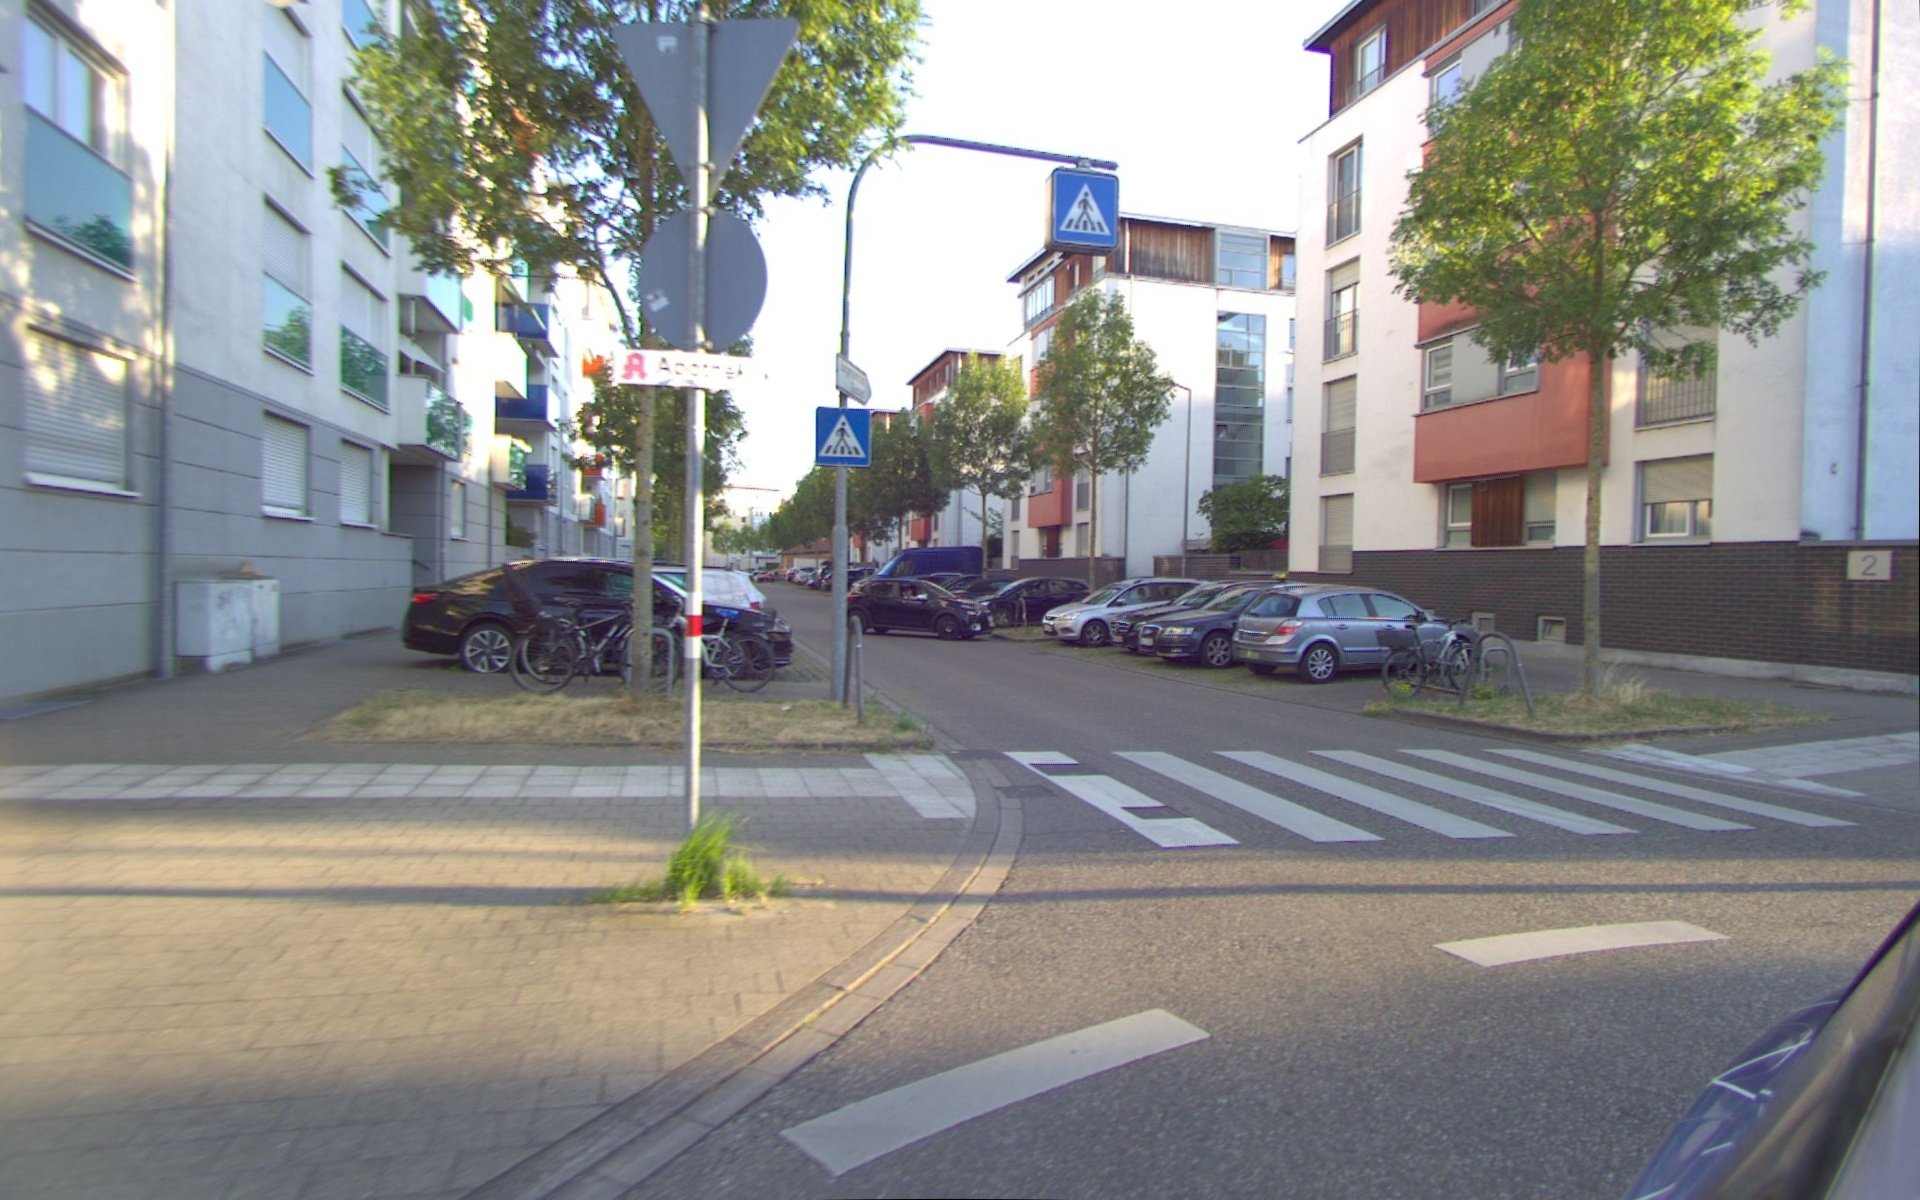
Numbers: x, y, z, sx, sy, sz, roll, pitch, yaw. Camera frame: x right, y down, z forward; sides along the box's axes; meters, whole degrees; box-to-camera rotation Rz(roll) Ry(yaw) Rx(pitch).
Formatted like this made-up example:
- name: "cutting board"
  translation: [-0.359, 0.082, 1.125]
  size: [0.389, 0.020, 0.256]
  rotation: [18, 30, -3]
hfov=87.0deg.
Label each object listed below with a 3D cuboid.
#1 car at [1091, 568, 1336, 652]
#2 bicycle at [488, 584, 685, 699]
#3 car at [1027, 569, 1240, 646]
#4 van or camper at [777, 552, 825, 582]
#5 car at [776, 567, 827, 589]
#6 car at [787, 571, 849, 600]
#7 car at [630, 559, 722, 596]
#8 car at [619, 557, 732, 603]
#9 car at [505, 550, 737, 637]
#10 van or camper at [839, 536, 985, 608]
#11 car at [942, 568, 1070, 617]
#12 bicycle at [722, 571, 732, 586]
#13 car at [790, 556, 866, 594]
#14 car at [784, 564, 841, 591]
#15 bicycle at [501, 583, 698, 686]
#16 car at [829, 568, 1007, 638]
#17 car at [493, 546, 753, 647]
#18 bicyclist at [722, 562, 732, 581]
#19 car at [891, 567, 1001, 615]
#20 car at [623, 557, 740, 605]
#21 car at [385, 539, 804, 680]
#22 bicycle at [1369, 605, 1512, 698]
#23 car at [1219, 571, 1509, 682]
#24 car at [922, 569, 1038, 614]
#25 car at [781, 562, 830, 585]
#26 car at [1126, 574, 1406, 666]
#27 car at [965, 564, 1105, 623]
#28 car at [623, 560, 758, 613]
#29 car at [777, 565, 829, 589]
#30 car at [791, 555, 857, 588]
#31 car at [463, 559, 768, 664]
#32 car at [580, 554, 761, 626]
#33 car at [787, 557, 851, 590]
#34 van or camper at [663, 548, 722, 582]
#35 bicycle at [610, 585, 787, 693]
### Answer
- name: "car"
  translation: [5.298, 0.162, 21.333]
  size: [4.689, 1.574, 1.714]
  rotation: [-1, 1, -11]
- name: "bicycle"
  translation: [-3.731, 0.417, 10.204]
  size: [1.755, 1.055, 0.568]
  rotation: [3, 0, -19]
- name: "car"
  translation: [4.080, 0.127, 23.841]
  size: [4.662, 1.604, 1.762]
  rotation: [-2, 2, -19]
- name: "van or camper"
  translation: [-15.133, -3.166, 96.276]
  size: [4.165, 2.566, 1.764]
  rotation: [3, 0, -14]
- name: "car"
  translation: [-13.865, -1.953, 88.628]
  size: [4.165, 1.659, 1.696]
  rotation: [3, 0, -14]
- name: "car"
  translation: [-10.357, -1.043, 73.611]
  size: [4.164, 1.808, 1.696]
  rotation: [3, 0, -16]
- name: "car"
  translation: [-13.882, -1.108, 49.653]
  size: [4.165, 1.555, 1.696]
  rotation: [3, 0, -14]
- name: "car"
  translation: [-11.346, -0.799, 40.336]
  size: [4.164, 1.528, 1.756]
  rotation: [3, 0, -19]
- name: "car"
  translation: [-6.859, -0.135, 20.873]
  size: [4.210, 1.476, 1.745]
  rotation: [3, 0, -6]
- name: "van or camper"
  translation: [-2.181, -1.256, 45.701]
  size: [6.185, 3.125, 2.448]
  rotation: [0, 1, -19]
- name: "car"
  translation: [1.503, -0.272, 33.361]
  size: [3.838, 1.534, 1.728]
  rotation: [0, 2, -19]
- name: "bicycle"
  translation: [-20.342, -1.917, 88.458]
  size: [0.756, 1.283, 1.785]
  rotation: [0, 1, -16]
- name: "car"
  translation: [-7.844, -1.493, 60.183]
  size: [4.164, 1.955, 1.696]
  rotation: [3, 0, -16]
- name: "car"
  translation: [-11.575, -1.742, 79.391]
  size: [4.164, 1.808, 1.696]
  rotation: [3, 0, -16]
- name: "bicycle"
  translation: [-4.004, 0.391, 11.336]
  size: [1.992, 1.059, 0.474]
  rotation: [3, 0, -19]
- name: "car"
  translation: [-1.061, 0.063, 25.749]
  size: [4.127, 1.481, 1.766]
  rotation: [4, 0, 20]
- name: "car"
  translation: [-6.017, -0.051, 18.413]
  size: [4.206, 1.512, 1.746]
  rotation: [3, 0, -16]
- name: "bicyclist"
  translation: [-20.381, -2.458, 88.583]
  size: [0.751, 1.648, 0.664]
  rotation: [0, 1, -16]
- name: "car"
  translation: [-0.562, -0.369, 40.889]
  size: [4.017, 1.646, 1.728]
  rotation: [3, 0, -19]
- name: "car"
  translation: [-10.329, -0.701, 37.506]
  size: [4.017, 1.528, 1.670]
  rotation: [3, 0, -19]
- name: "car"
  translation: [-4.581, 0.131, 13.329]
  size: [4.788, 1.476, 1.942]
  rotation: [3, 0, -13]
- name: "bicycle"
  translation: [6.375, 0.656, 13.421]
  size: [1.784, 1.079, 0.568]
  rotation: [-3, 2, -17]
- name: "car"
  translation: [6.524, 0.354, 16.408]
  size: [4.205, 1.475, 1.684]
  rotation: [-3, 2, -17]
- name: "car"
  translation: [0.753, -0.346, 38.275]
  size: [4.018, 1.645, 1.728]
  rotation: [0, 1, -19]
- name: "car"
  translation: [-14.006, -2.354, 91.628]
  size: [4.165, 1.808, 1.696]
  rotation: [3, 0, -14]
- name: "car"
  translation: [5.656, 0.303, 18.779]
  size: [4.815, 1.496, 1.715]
  rotation: [-2, 2, -17]
- name: "car"
  translation: [2.263, -0.227, 30.685]
  size: [3.838, 1.731, 1.728]
  rotation: [0, 1, -19]
- name: "car"
  translation: [-8.342, -0.419, 31.234]
  size: [3.838, 1.361, 1.728]
  rotation: [3, 0, -19]
- name: "car"
  translation: [-13.426, -1.950, 86.366]
  size: [4.165, 1.808, 1.696]
  rotation: [3, 0, -14]
- name: "car"
  translation: [-9.364, -1.966, 69.540]
  size: [4.164, 1.955, 1.696]
  rotation: [3, 0, -16]
- name: "car"
  translation: [-5.235, 0.149, 15.910]
  size: [4.324, 1.527, 1.746]
  rotation: [0, 1, -12]
- name: "car"
  translation: [-7.332, -0.242, 25.734]
  size: [4.206, 1.526, 1.689]
  rotation: [3, 0, -18]
- name: "car"
  translation: [-9.941, -1.867, 71.351]
  size: [4.164, 2.028, 1.696]
  rotation: [3, 0, -16]
- name: "van or camper"
  translation: [-20.338, -2.645, 77.001]
  size: [4.164, 2.238, 1.696]
  rotation: [3, 0, -15]
- name: "bicycle"
  translation: [-2.860, 0.428, 11.101]
  size: [1.801, 1.085, 0.474]
  rotation: [3, 0, -19]
